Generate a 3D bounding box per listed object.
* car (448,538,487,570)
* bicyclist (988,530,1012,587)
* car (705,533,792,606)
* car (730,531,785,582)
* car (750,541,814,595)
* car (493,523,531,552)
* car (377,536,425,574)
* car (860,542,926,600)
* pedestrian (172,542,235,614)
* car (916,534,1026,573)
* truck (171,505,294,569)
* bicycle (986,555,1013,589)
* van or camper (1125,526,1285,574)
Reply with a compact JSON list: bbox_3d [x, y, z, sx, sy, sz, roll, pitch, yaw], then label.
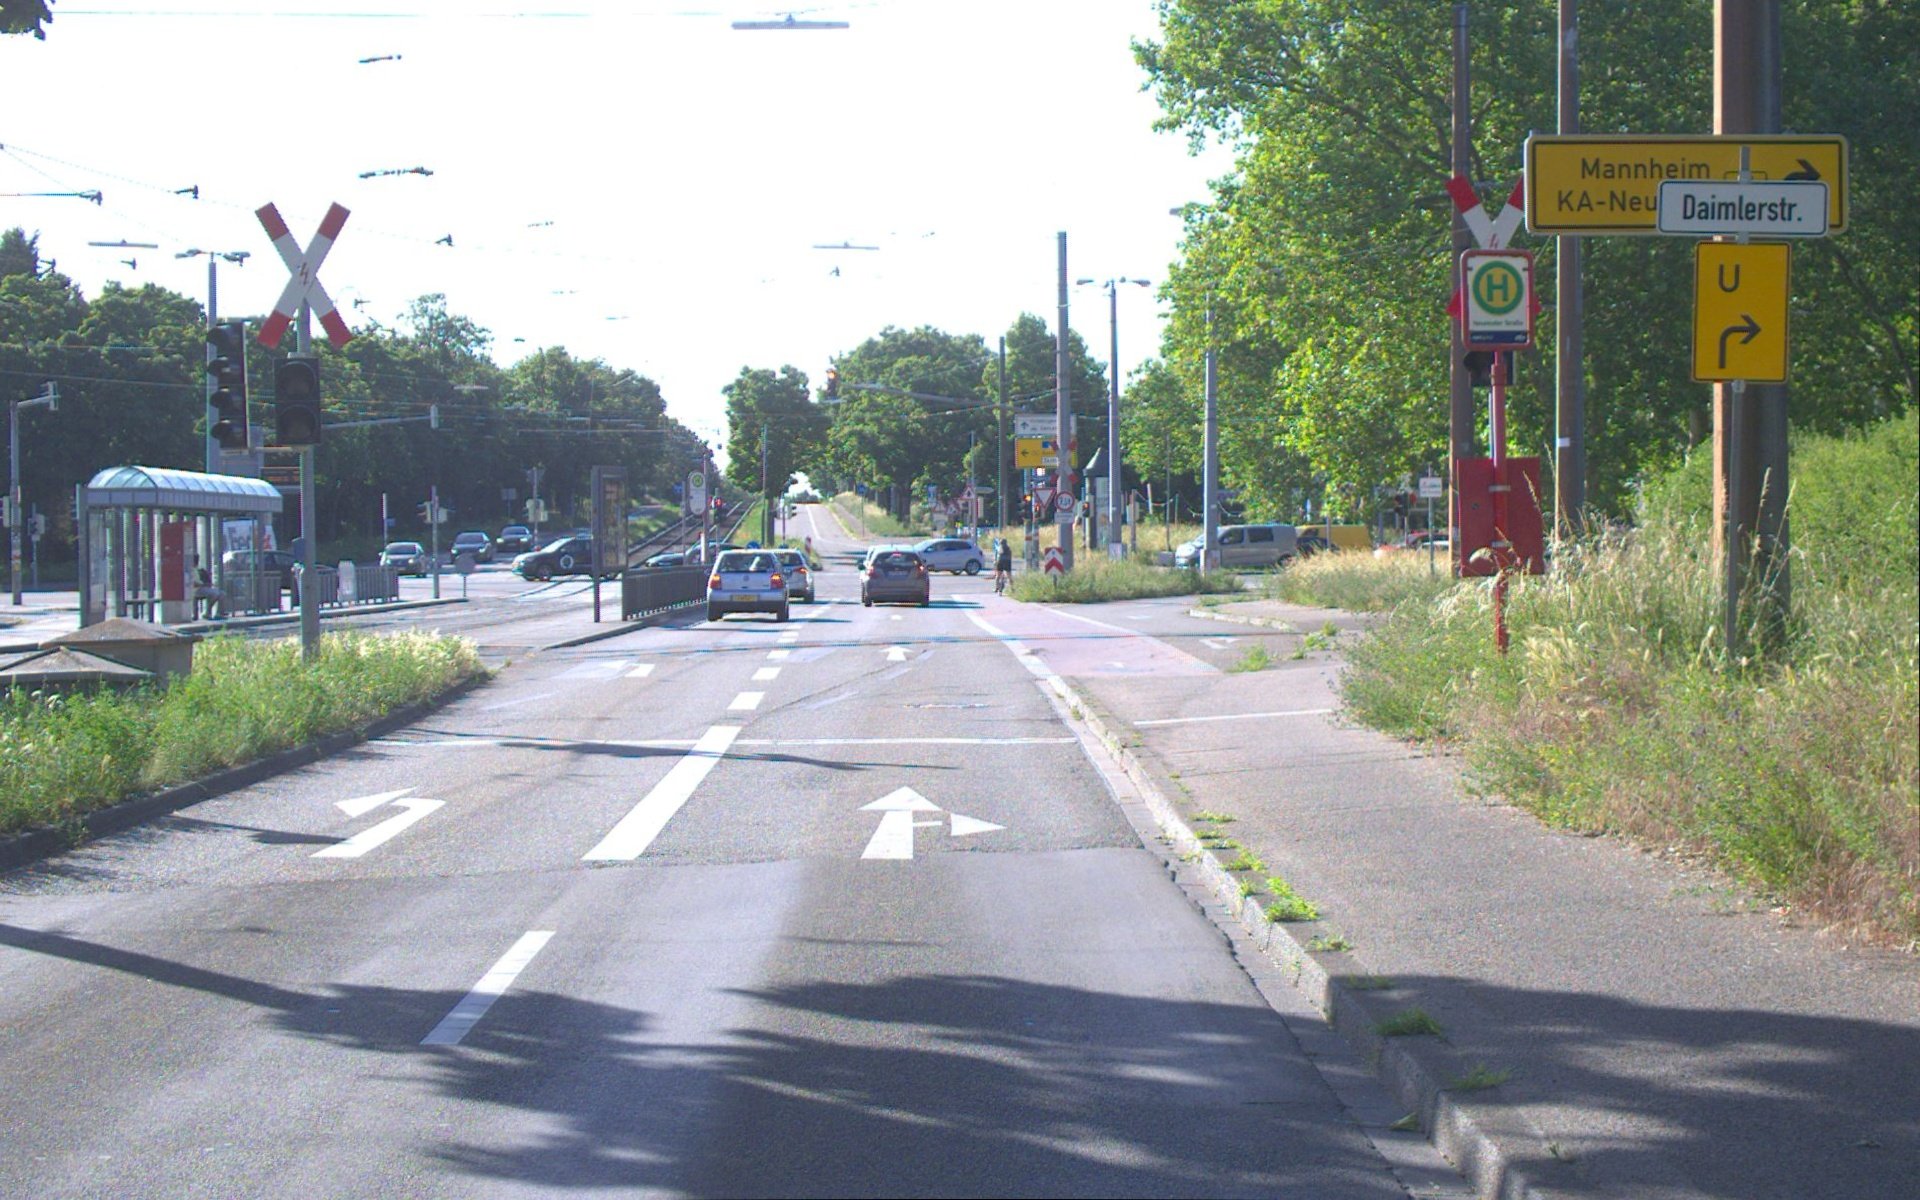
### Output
[{"bbox_3d":[-24.312,-2.292,169.753,1.832,1.543,4.285,-1,1,-7],"label":"car"},{"bbox_3d":[1.191,-1.255,103.471,0.666,1.710,0.948,1,0,-1],"label":"bicyclist"},{"bbox_3d":[-4.300,-0.626,70.269,1.619,1.413,3.351,-1,1,-1],"label":"car"},{"bbox_3d":[-8.225,-1.780,140.258,1.993,2.007,4.492,1,0,-1],"label":"car"},{"bbox_3d":[-4.902,-0.884,94.922,1.619,1.452,4.085,0,0,-1],"label":"car"},{"bbox_3d":[-25.113,-3.507,192.598,1.993,1.599,4.756,0,1,-8],"label":"car"},{"bbox_3d":[-23.148,-1.865,142.453,1.832,1.543,4.001,-1,1,-7],"label":"car"},{"bbox_3d":[-1.744,-0.767,89.552,1.668,1.457,3.586,0,1,-1],"label":"car"},{"bbox_3d":[-15.562,-0.459,70.733,1.060,1.448,1.007,-1,0,-1],"label":"pedestrian"},{"bbox_3d":[0.429,-1.848,137.040,3.986,1.468,1.752,1,0,-22],"label":"car"},{"bbox_3d":[-29.839,-2.596,141.329,1.995,2.556,6.818,0,1,16],"label":"truck"},{"bbox_3d":[1.182,-0.851,103.556,0.722,0.985,2.876,1,0,-1],"label":"bicycle"},{"bbox_3d":[9.504,-1.950,133.554,5.967,1.822,2.000,0,1,-4],"label":"van or camper"}]
